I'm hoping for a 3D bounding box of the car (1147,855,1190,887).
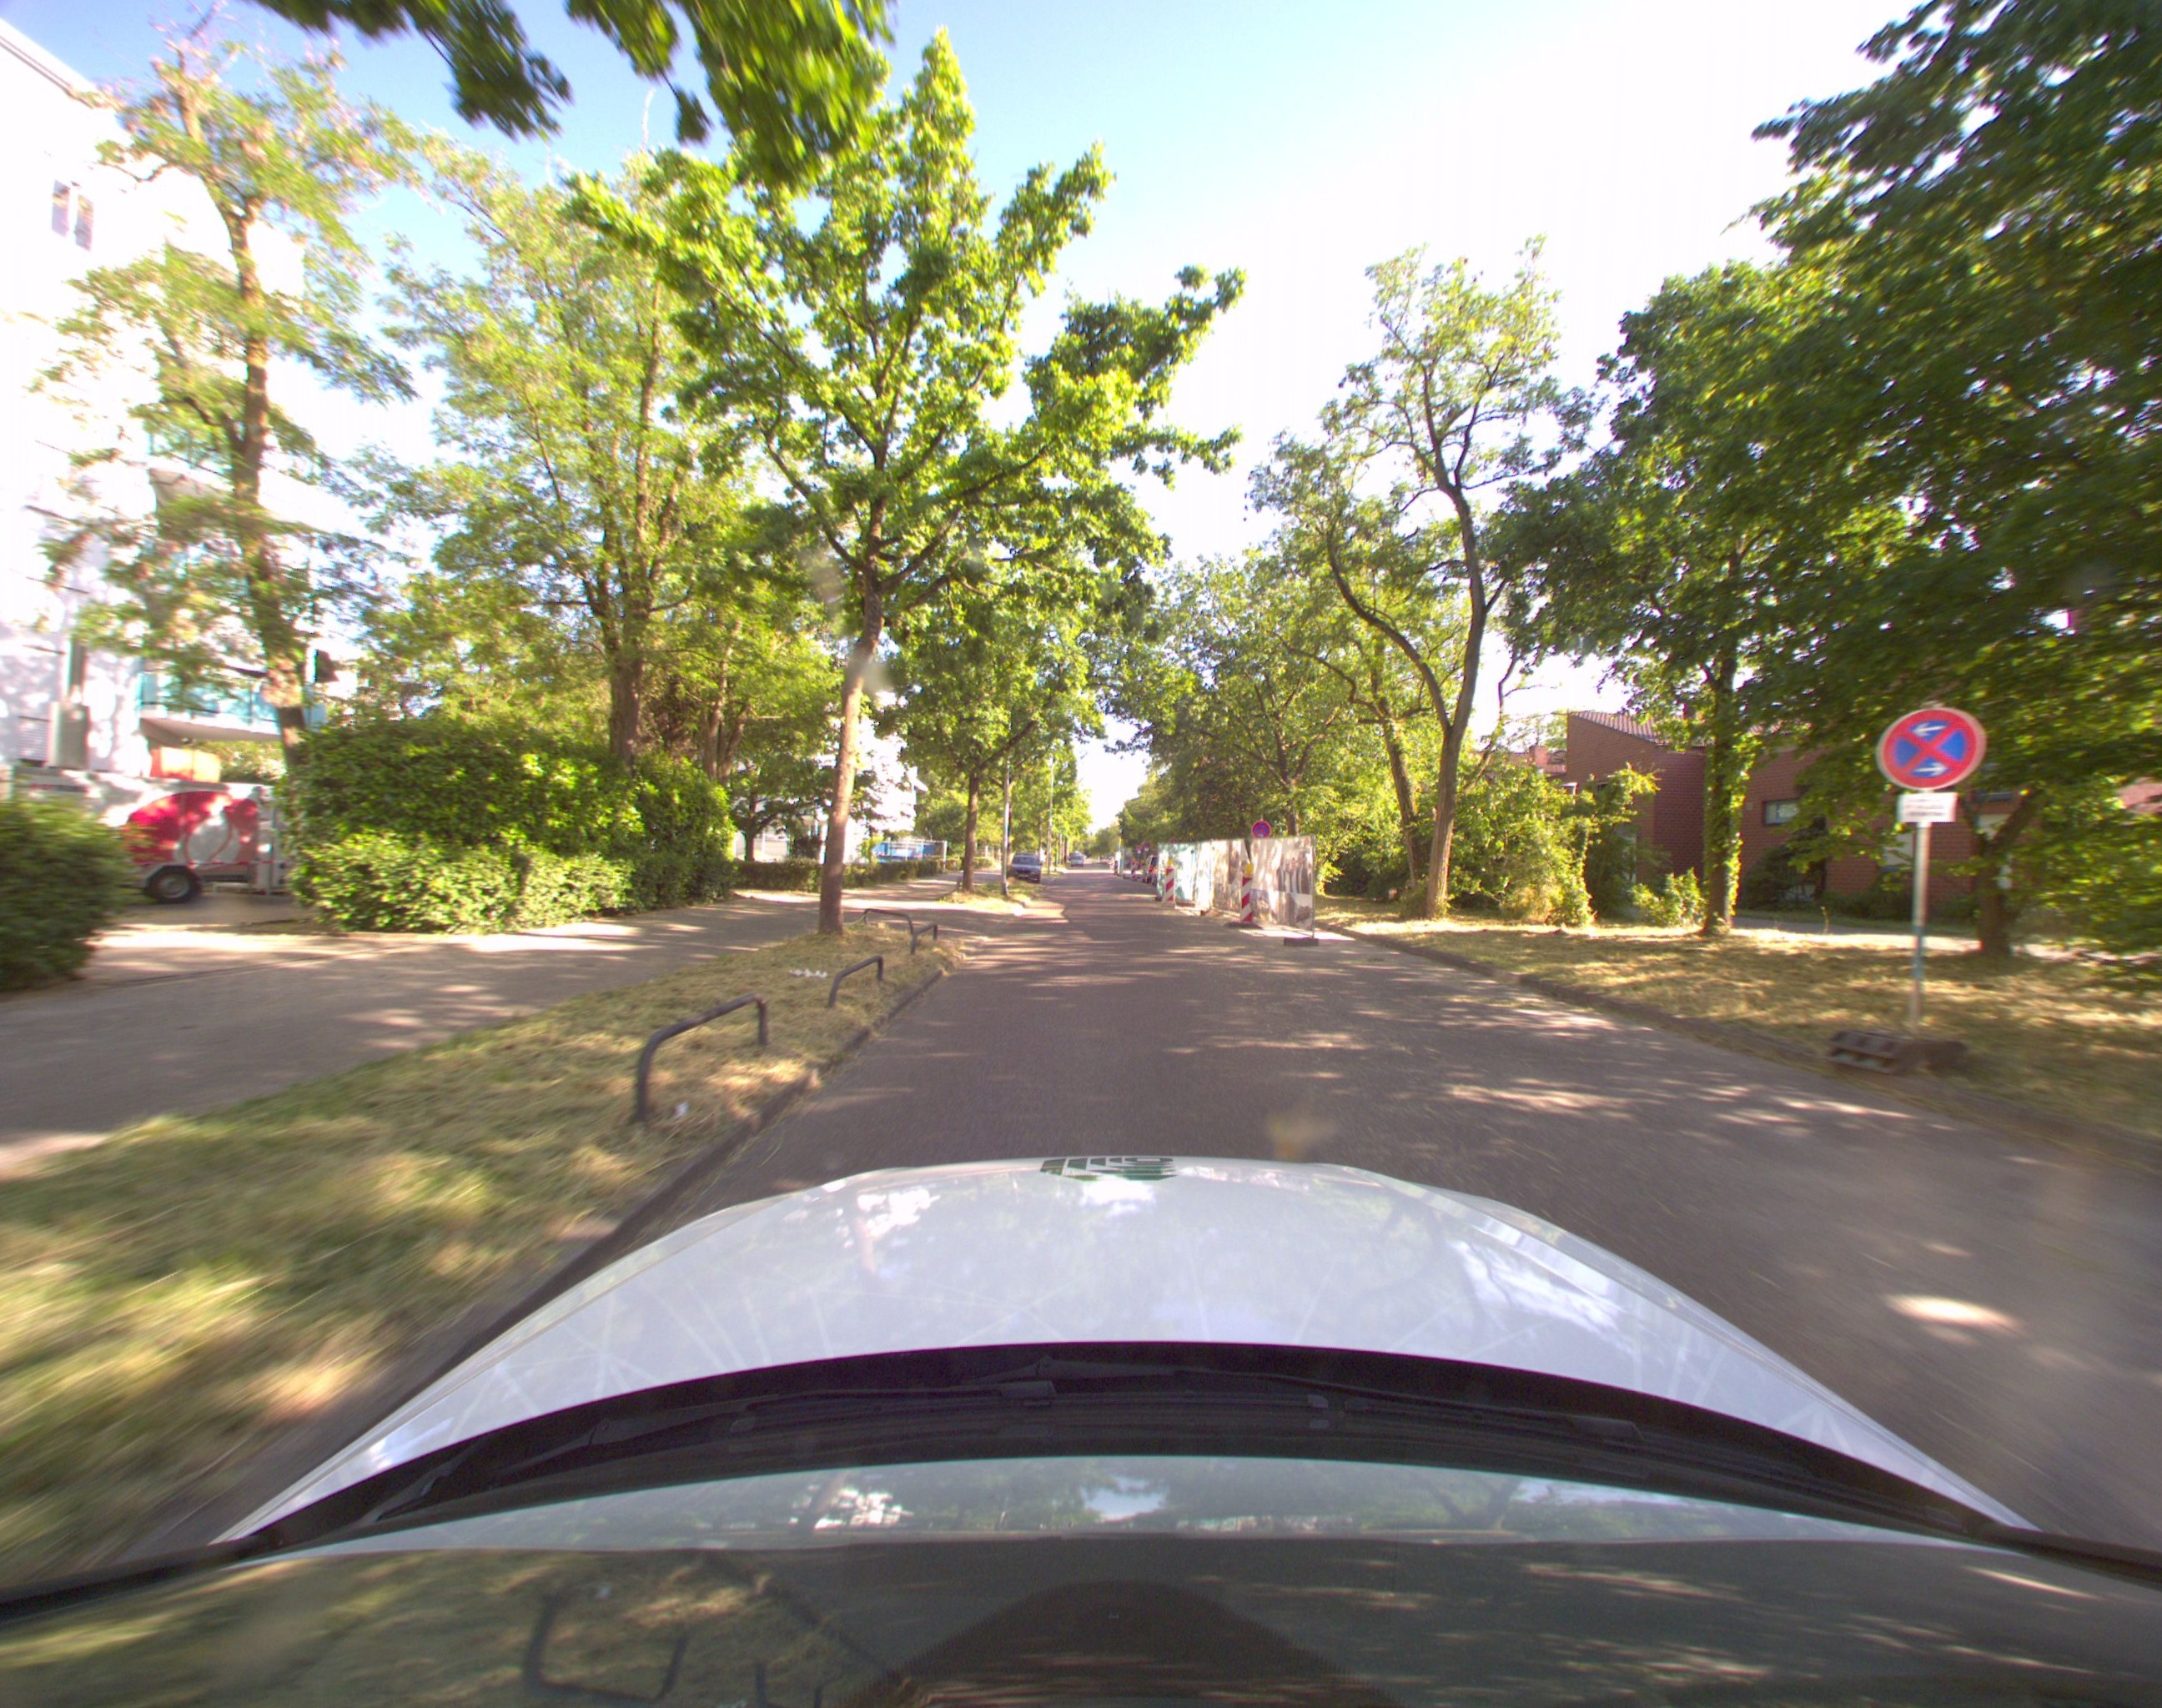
[{"bbox_3d":[4.565,0.865,42.791,1.748,1.595,3.655,2,0,-1],"label":"car"}]

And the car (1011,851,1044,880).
[{"bbox_3d":[-3.254,0.705,50.437,1.683,1.675,3.502,2,0,1],"label":"car"}]

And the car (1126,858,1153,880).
[{"bbox_3d":[3.805,0.968,53.365,1.358,1.302,3.478,3,-1,-2],"label":"car"}]

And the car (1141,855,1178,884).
[{"bbox_3d":[4.528,0.873,47.468,1.748,1.595,3.655,2,0,-1],"label":"car"}]

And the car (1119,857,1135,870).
[{"bbox_3d":[5.394,1.121,96.175,1.787,1.409,4.002,2,0,2],"label":"car"}]

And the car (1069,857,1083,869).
[{"bbox_3d":[-0.772,1.333,114.952,1.707,1.585,3.995,3,-1,-3],"label":"car"}]

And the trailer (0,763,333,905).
[{"bbox_3d":[-16.092,-0.293,14.036,1.966,2.043,4.438,1,0,7],"label":"trailer"}]

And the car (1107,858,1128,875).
[{"bbox_3d":[2.961,1.022,66.320,1.358,1.302,3.478,3,-1,-2],"label":"car"}]

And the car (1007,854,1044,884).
[{"bbox_3d":[-2.929,0.779,43.439,1.746,1.478,3.834,2,0,-1],"label":"car"}]

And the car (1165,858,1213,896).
[{"bbox_3d":[4.430,0.914,33.733,1.496,1.478,3.056,2,0,-1],"label":"car"}]

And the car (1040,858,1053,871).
[{"bbox_3d":[-3.779,1.153,90.515,1.358,1.302,3.478,3,-1,-2],"label":"car"}]

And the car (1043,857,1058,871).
[{"bbox_3d":[-2.985,0.979,78.800,1.358,1.302,3.478,3,-1,-2],"label":"car"}]
